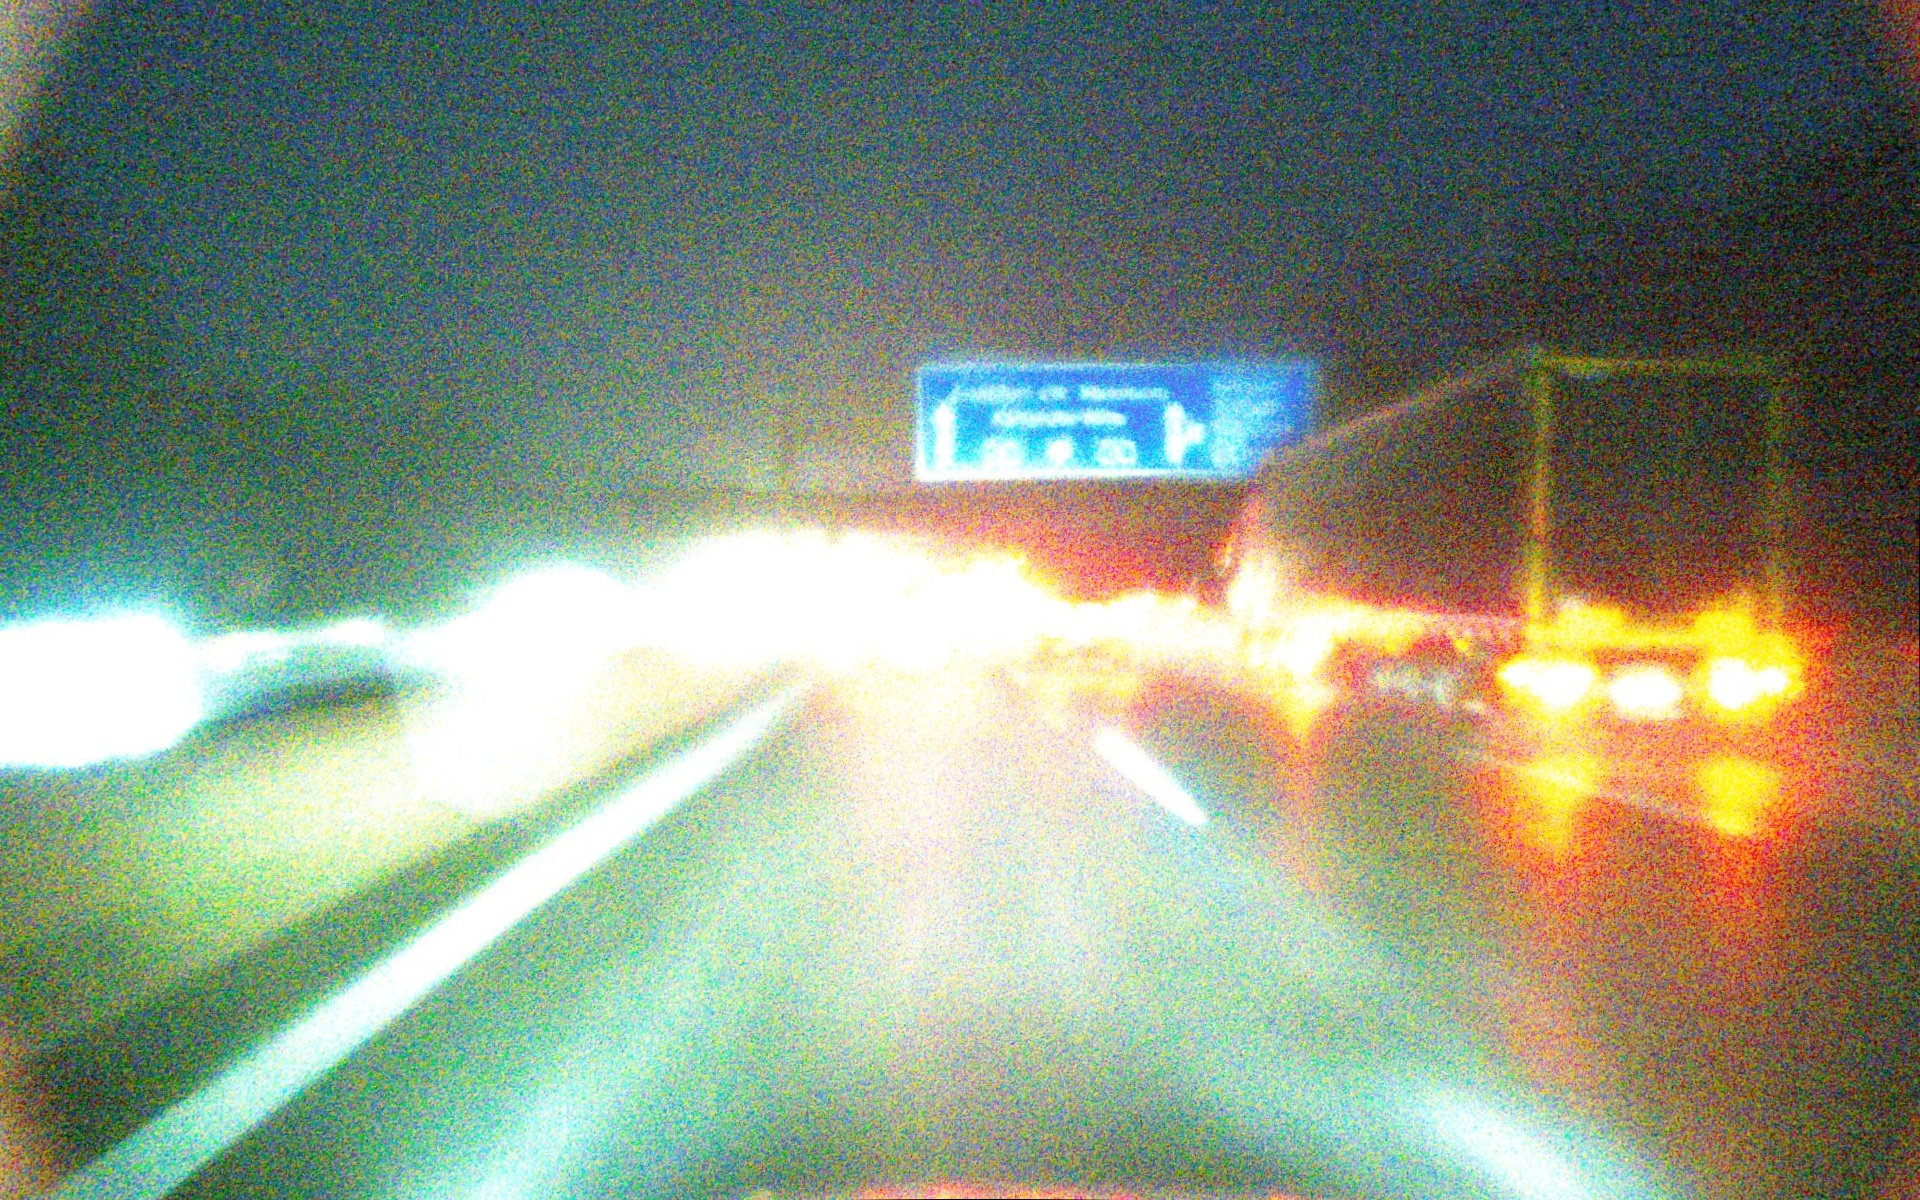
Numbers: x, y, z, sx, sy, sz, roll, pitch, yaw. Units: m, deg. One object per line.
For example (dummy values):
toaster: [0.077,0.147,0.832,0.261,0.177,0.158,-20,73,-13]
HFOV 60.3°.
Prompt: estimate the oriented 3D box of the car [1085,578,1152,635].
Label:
car: [6.045,0.235,63.565,1.954,2.049,3.998,-2,0,-3]

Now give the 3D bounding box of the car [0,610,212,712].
car: [-17.213,1.160,33.610,1.954,1.791,4.957,-2,0,-3]

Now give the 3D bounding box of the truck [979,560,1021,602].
truck: [3.353,-1.615,141.739,2.976,3.355,11.378,-2,1,-1]

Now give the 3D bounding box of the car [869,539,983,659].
car: [-0.647,-0.032,31.019,1.953,2.049,3.999,1,0,-1]

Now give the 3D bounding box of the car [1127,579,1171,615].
car: [11.214,-0.188,98.453,1.954,2.049,3.998,-2,0,-3]

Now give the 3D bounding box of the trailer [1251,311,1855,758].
trailer: [6.884,-0.690,22.687,2.979,4.180,13.826,-2,1,-1]

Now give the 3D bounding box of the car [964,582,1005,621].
car: [1.335,0.047,90.646,1.954,2.049,3.998,-2,0,-3]

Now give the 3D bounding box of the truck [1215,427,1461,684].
truck: [6.721,-0.766,30.312,2.979,4.180,5.797,-2,0,-1]

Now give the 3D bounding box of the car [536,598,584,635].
car: [-23.189,0.947,96.047,1.954,2.049,3.998,-2,0,-3]

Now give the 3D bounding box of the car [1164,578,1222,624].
car: [10.998,0.039,78.418,1.954,2.049,3.998,-2,0,-3]

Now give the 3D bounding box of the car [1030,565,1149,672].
car: [2.643,0.353,34.683,1.954,2.049,3.998,-2,0,-3]
